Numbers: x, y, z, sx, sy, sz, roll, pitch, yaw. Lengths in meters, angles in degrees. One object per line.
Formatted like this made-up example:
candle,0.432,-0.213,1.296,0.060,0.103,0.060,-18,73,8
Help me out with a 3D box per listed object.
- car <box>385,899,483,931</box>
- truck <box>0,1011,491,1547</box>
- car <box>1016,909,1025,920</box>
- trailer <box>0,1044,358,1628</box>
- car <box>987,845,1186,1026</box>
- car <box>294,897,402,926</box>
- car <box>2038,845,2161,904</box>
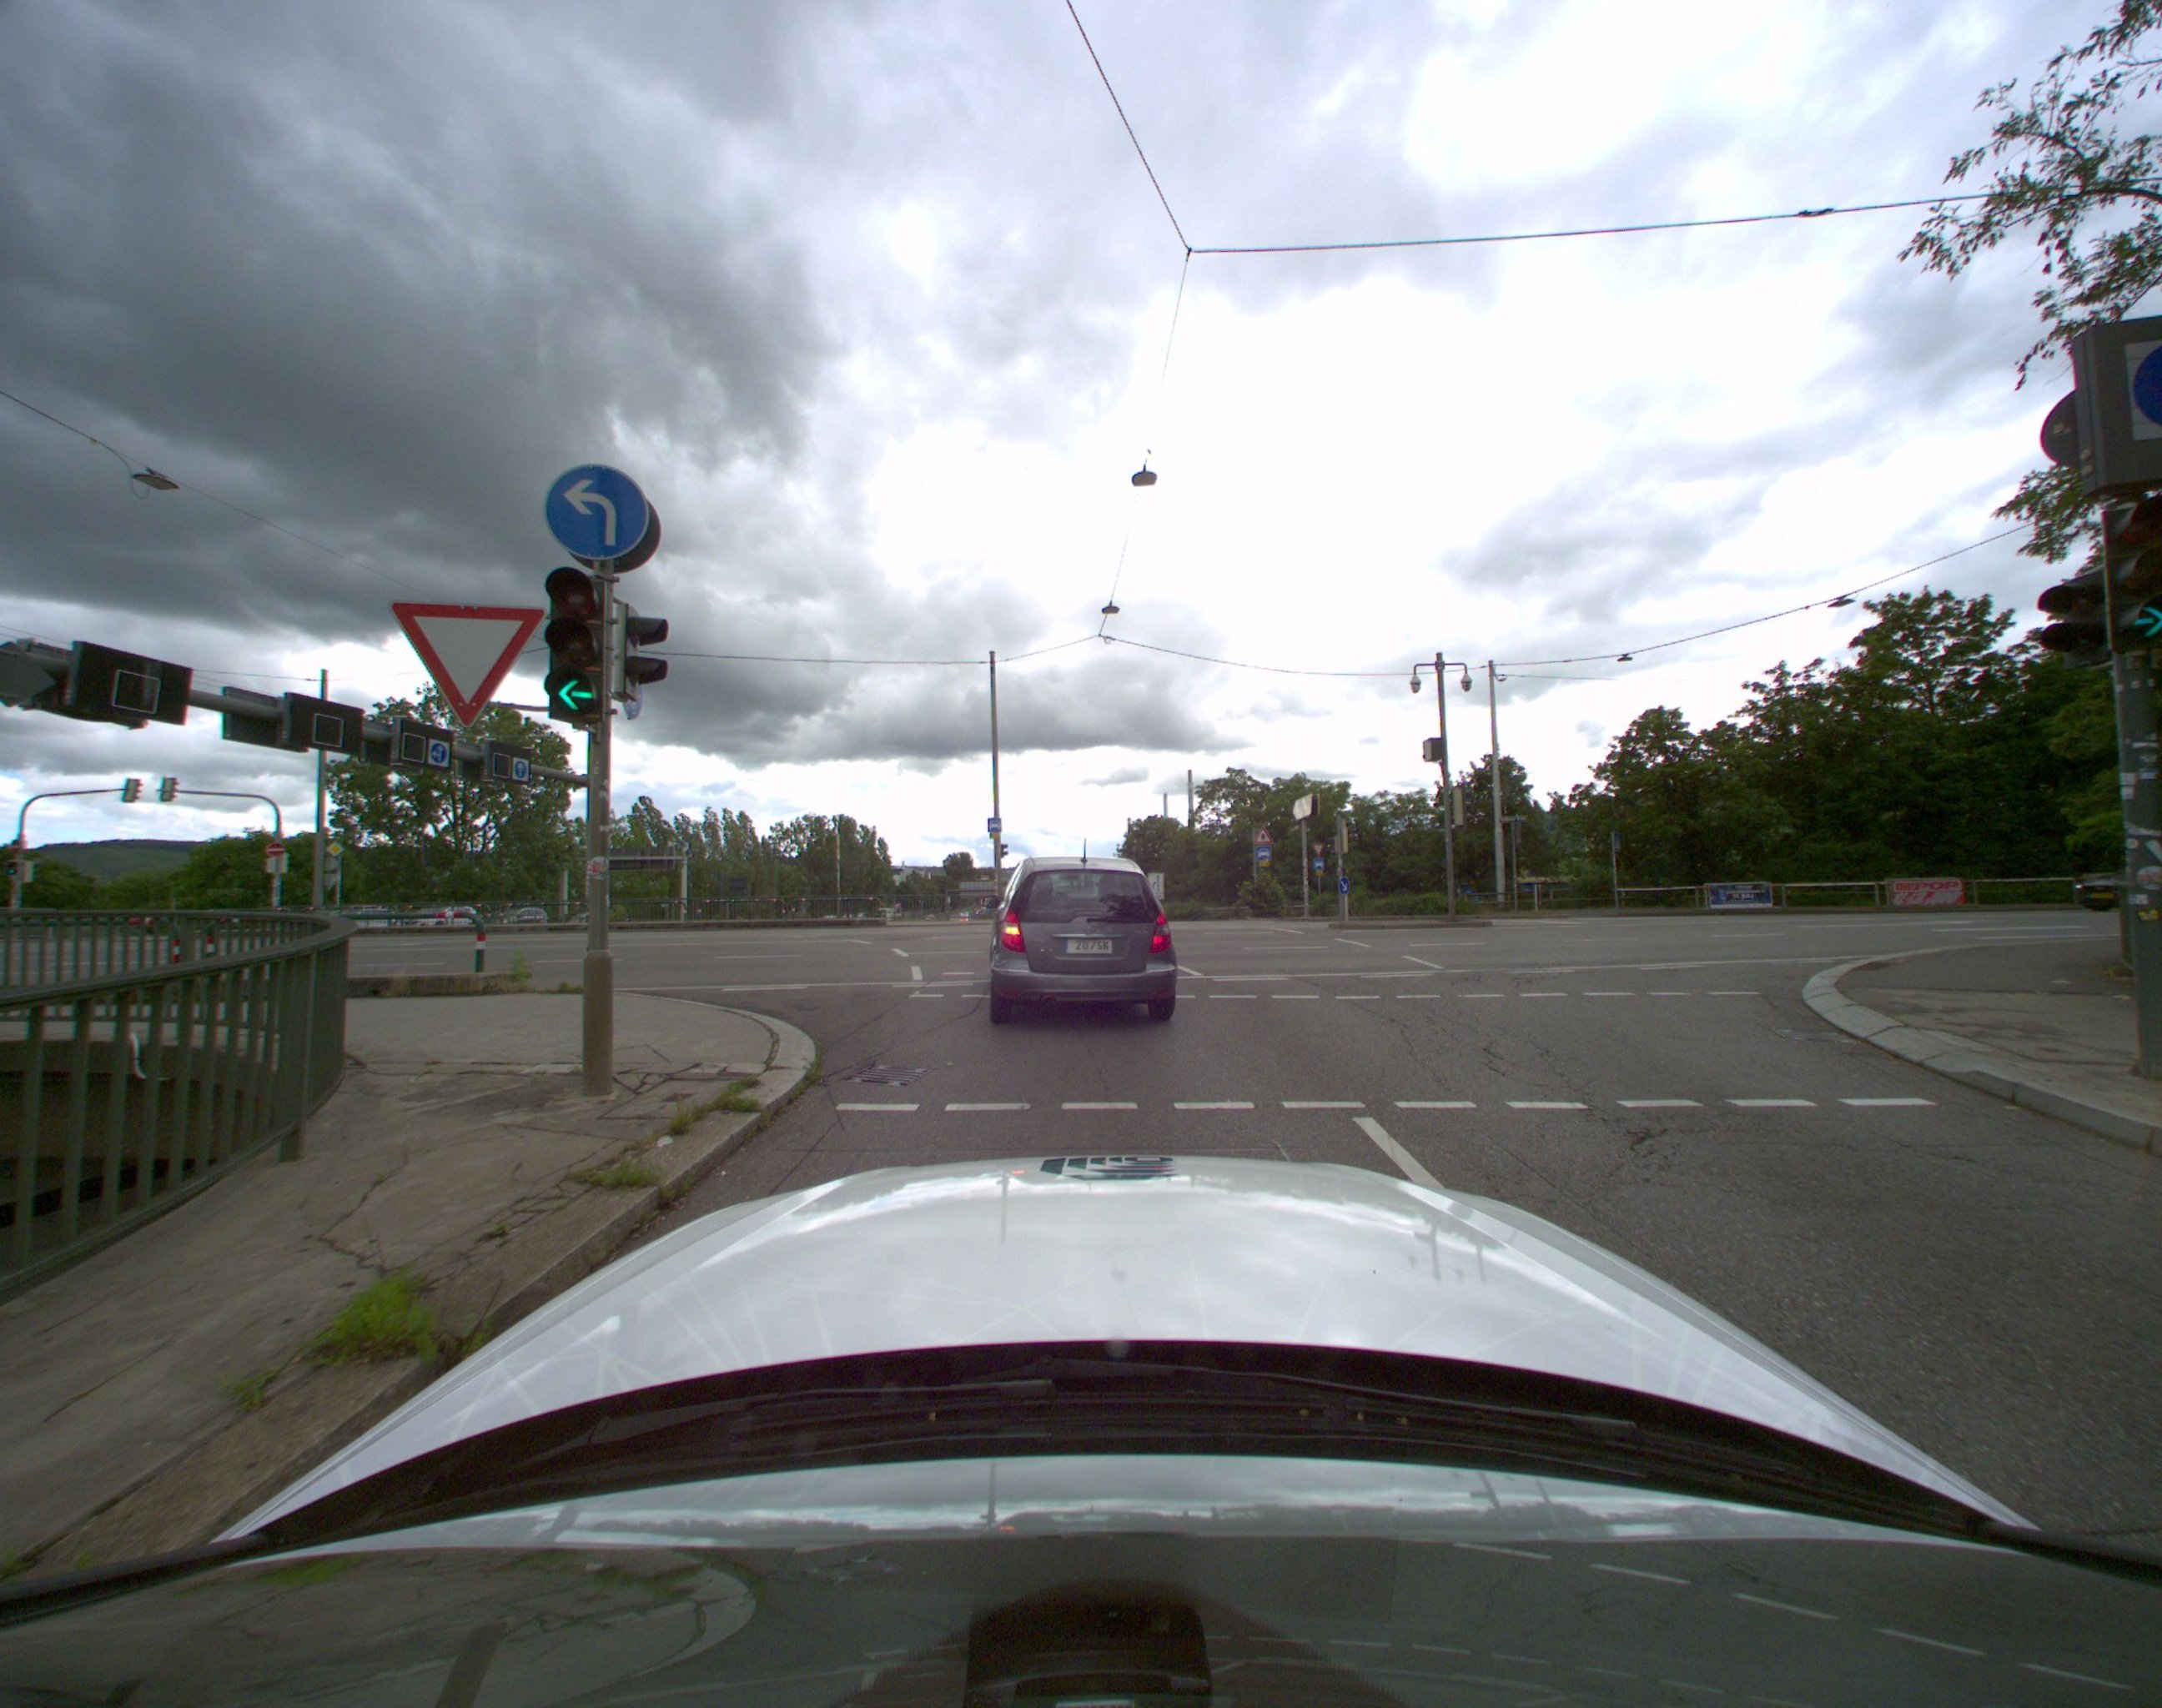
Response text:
car,-36.472,3.456,46.082,1.987,1.620,4.340,-3,-5,0
truck,-12.315,5.367,12.048,2.961,4.991,5.580,-1,0,2
car,-14.324,14.343,193.122,1.990,2.623,5.389,-2,-4,-4
trailer,-12.542,5.333,5.146,2.960,4.991,14.134,-1,0,2
car,-0.119,0.766,9.110,1.743,1.551,3.863,-1,-2,-5
car,-36.066,2.864,40.224,1.778,1.313,3.766,-3,-5,3
car,28.006,0.491,20.854,4.419,1.420,1.936,-2,-4,3
